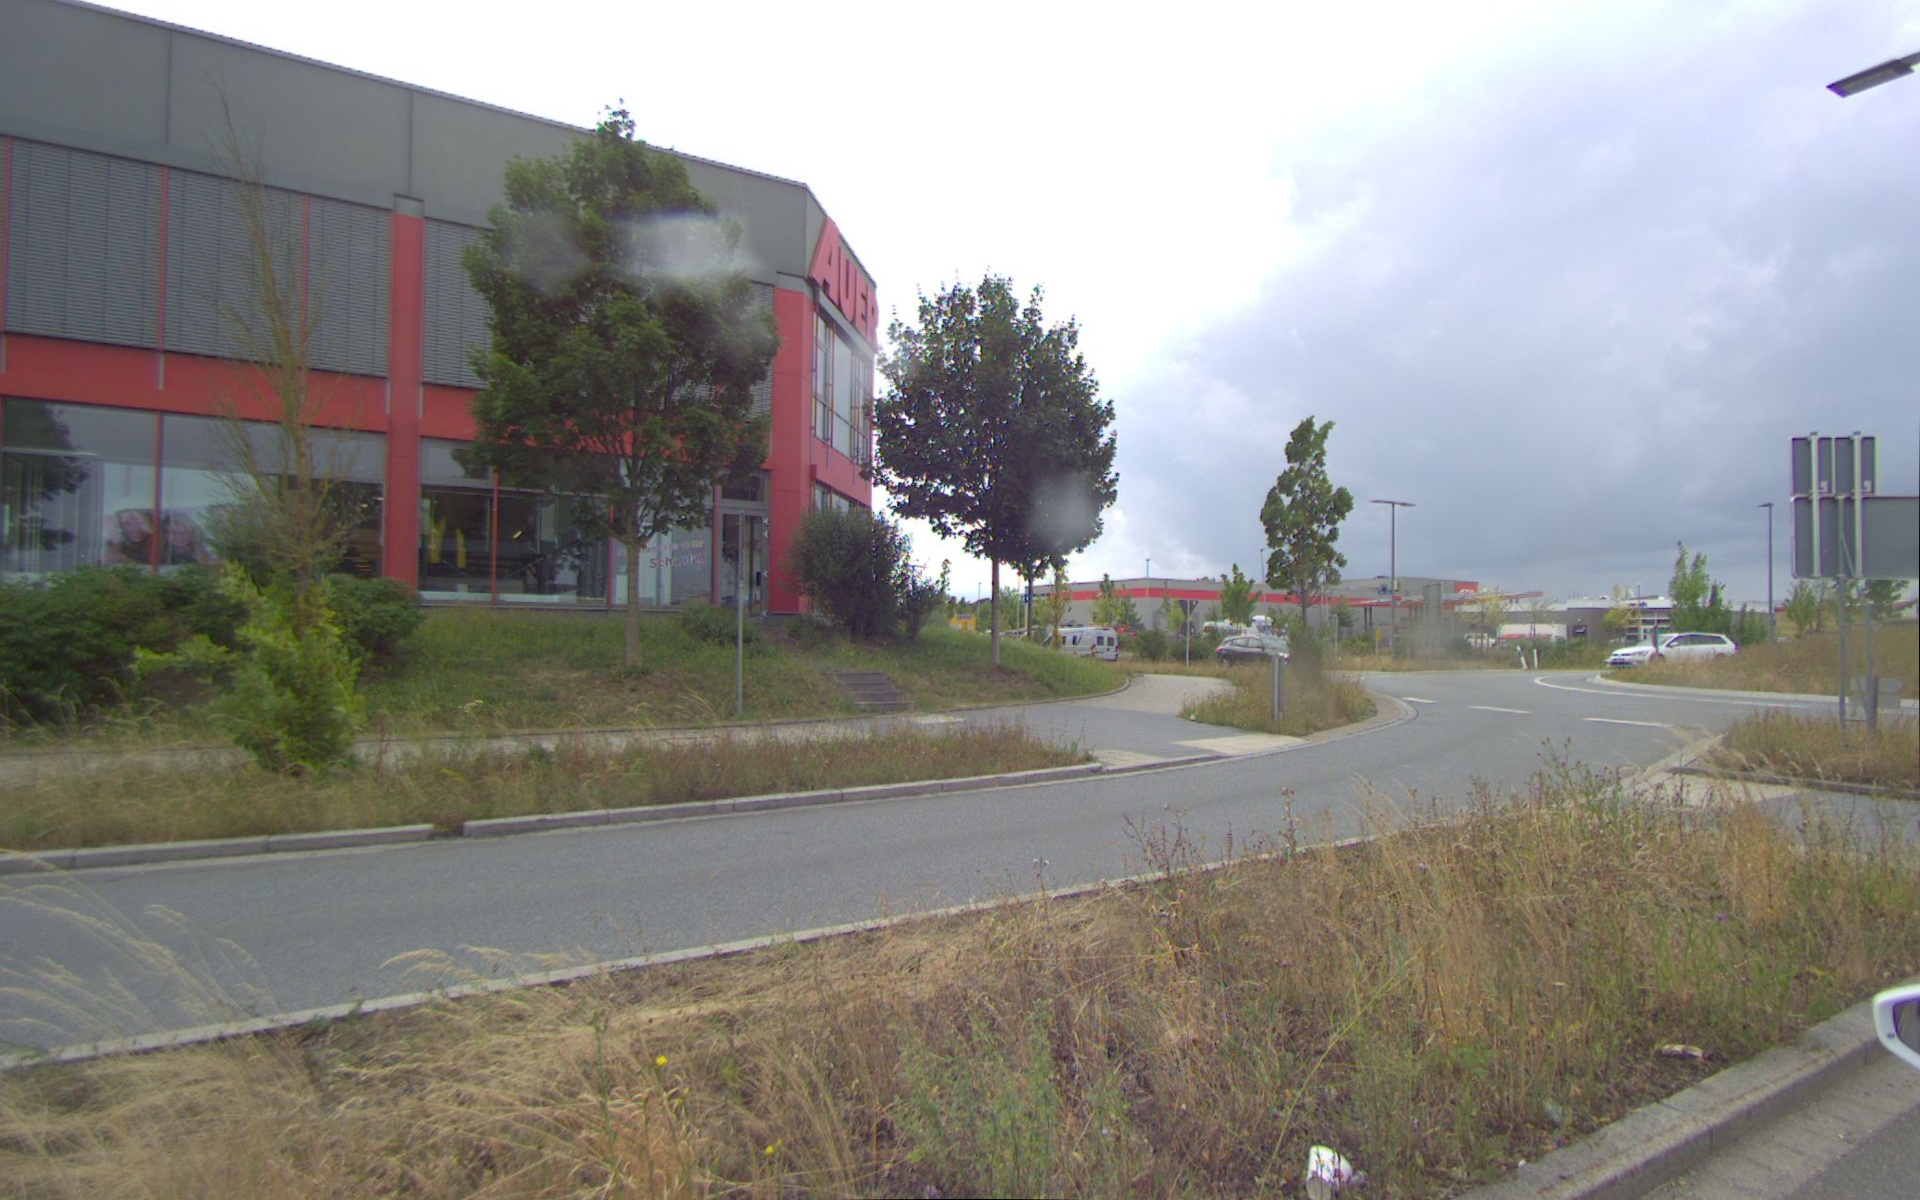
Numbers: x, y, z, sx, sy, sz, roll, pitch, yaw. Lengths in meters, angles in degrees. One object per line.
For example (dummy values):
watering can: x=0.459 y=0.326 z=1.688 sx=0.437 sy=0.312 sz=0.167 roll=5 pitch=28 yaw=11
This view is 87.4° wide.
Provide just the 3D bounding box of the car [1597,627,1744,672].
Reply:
car: x=26.806 y=1.853 z=37.956 sx=4.557 sy=1.427 sz=1.726 roll=3 pitch=-1 yaw=-7

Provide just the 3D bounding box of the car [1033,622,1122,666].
car: x=7.252 y=2.722 z=62.844 sx=2.259 sy=2.418 sz=5.654 roll=3 pitch=-1 yaw=-36

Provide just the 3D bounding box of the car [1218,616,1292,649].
car: x=28.383 y=3.142 z=96.508 sx=7.609 sy=2.857 sz=2.448 roll=3 pitch=-1 yaw=-33

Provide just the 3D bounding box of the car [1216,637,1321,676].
car: x=11.903 y=2.183 z=38.927 sx=1.662 sy=1.267 sz=3.555 roll=3 pitch=-1 yaw=-39
